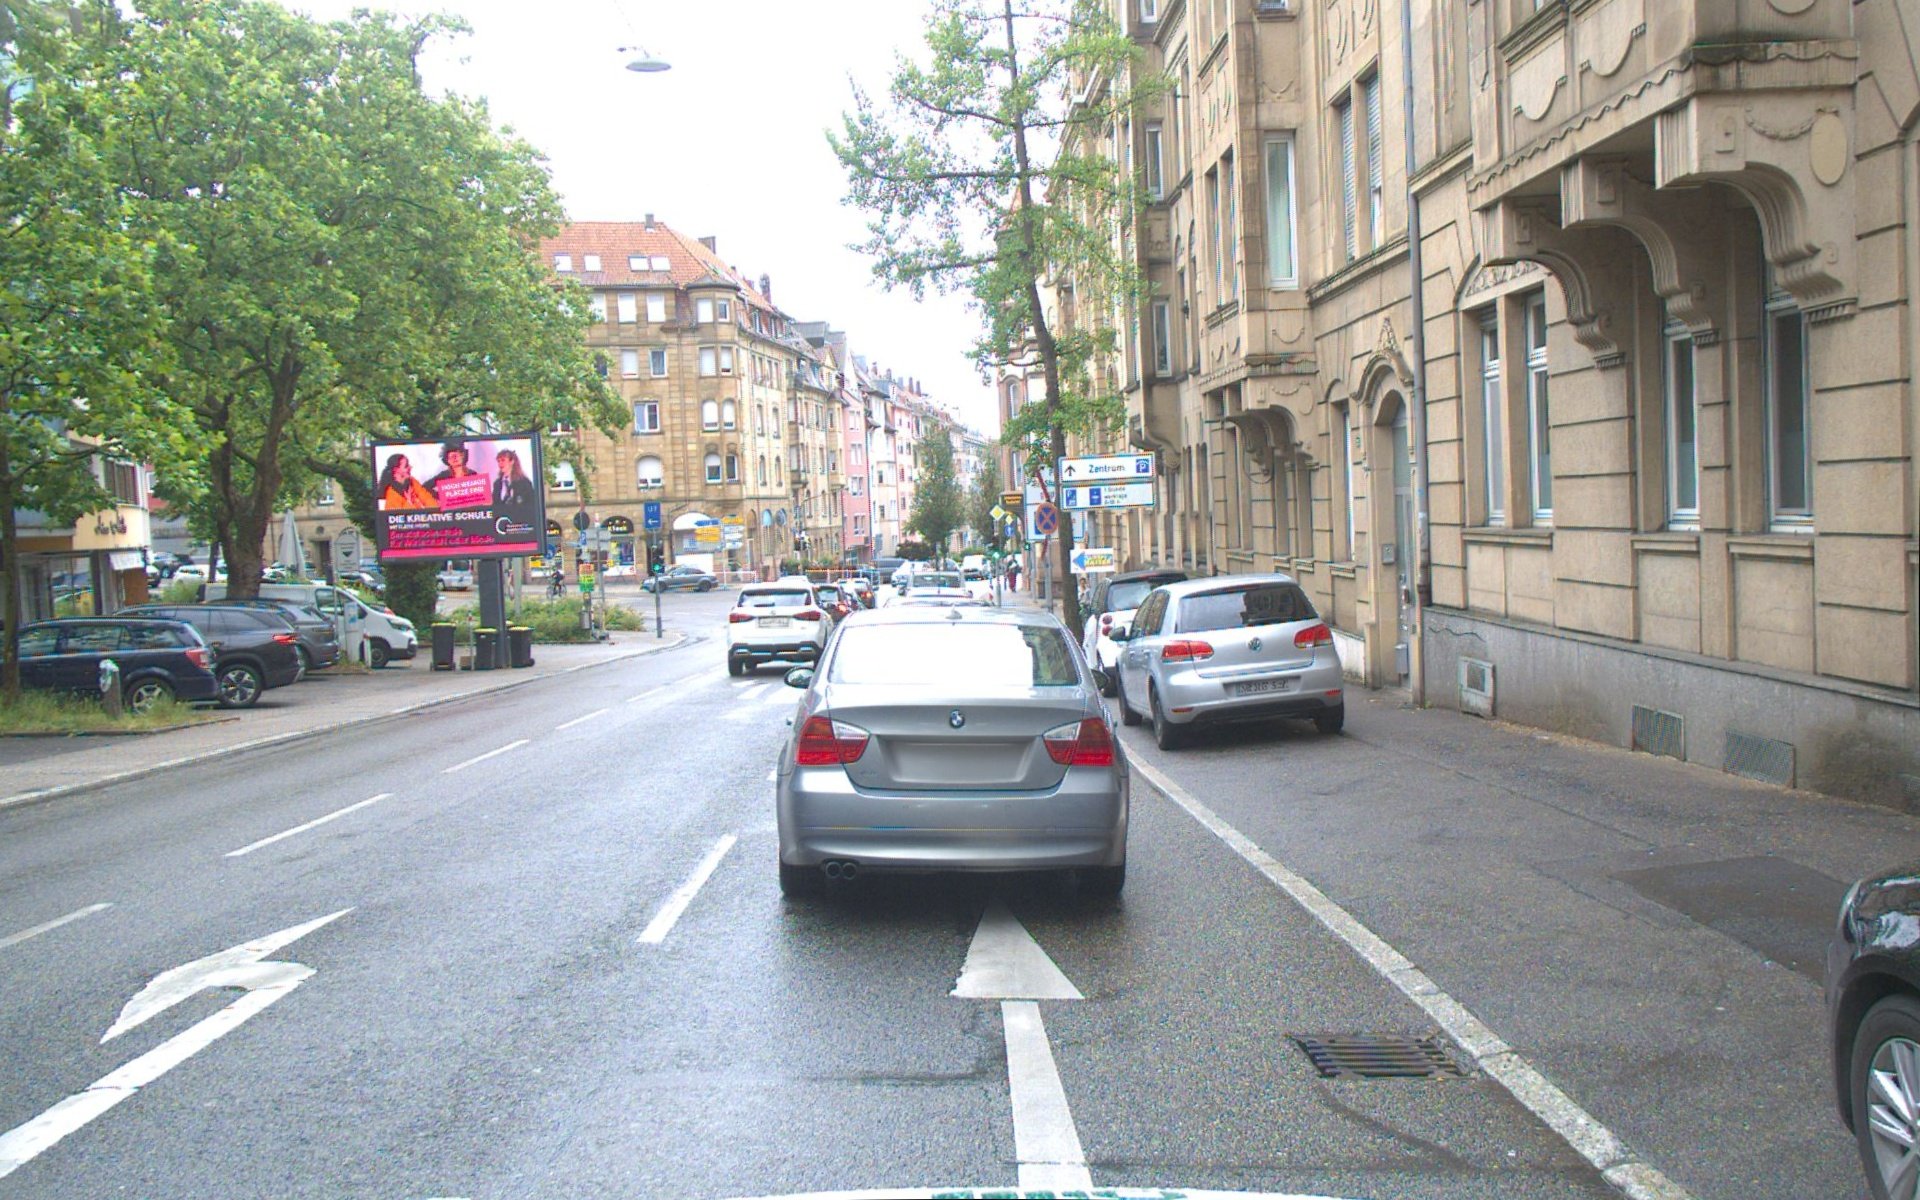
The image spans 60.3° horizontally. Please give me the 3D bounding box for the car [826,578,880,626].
[{"bbox_3d":[-4.006,0.055,62.371,1.723,1.737,4.000,-1,1,0],"label":"car"}]

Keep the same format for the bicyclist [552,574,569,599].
[{"bbox_3d":[-20.573,-0.684,85.176,0.556,1.295,0.690,1,-1,11],"label":"bicyclist"}]

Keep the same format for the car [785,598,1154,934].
[{"bbox_3d":[0.052,0.722,9.011,1.590,1.407,3.615,-1,1,0],"label":"car"}]

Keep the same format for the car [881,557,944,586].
[{"bbox_3d":[-2.827,-1.720,99.430,1.957,1.606,3.991,1,0,31],"label":"car"}]

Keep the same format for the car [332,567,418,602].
[{"bbox_3d":[-30.355,-0.812,85.797,4.157,1.756,1.997,1,2,30],"label":"car"}]

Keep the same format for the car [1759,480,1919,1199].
[{"bbox_3d":[2.866,0.518,1.940,1.724,1.679,4.098,-6,1,0],"label":"car"}]

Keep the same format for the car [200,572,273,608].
[{"bbox_3d":[-45.470,-0.639,103.930,4.196,2.138,1.998,2,2,28],"label":"car"}]

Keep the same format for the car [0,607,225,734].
[{"bbox_3d":[-13.039,1.019,23.902,4.299,1.601,1.929,-3,1,-24],"label":"car"}]

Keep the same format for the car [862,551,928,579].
[{"bbox_3d":[-5.065,-2.767,130.215,5.072,2.049,2.698,1,0,-1],"label":"car"}]

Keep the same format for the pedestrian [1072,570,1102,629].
[{"bbox_3d":[3.418,-0.020,44.595,0.618,1.534,0.693,-6,0,-2],"label":"pedestrian"}]

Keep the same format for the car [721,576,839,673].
[{"bbox_3d":[-3.275,0.406,30.760,1.830,1.654,3.999,-1,1,-1],"label":"car"}]

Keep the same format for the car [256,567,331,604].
[{"bbox_3d":[-40.863,-0.923,101.409,4.196,2.138,1.998,2,2,28],"label":"car"}]

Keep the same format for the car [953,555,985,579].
[{"bbox_3d":[0.668,-2.419,120.355,1.951,1.606,4.002,1,0,5],"label":"car"}]

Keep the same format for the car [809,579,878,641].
[{"bbox_3d":[-3.391,0.251,48.860,1.723,1.737,4.000,-1,1,0],"label":"car"}]

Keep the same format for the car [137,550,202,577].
[{"bbox_3d":[-51.112,-2.358,106.917,3.909,1.718,1.726,1,0,27],"label":"car"}]

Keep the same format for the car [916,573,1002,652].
[{"bbox_3d":[-0.069,0.226,35.704,1.724,1.594,3.999,-1,1,-2],"label":"car"}]

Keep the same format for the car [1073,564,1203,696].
[{"bbox_3d":[2.391,0.374,22.782,1.273,1.569,2.975,-6,1,-1],"label":"car"}]

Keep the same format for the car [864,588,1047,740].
[{"bbox_3d":[-0.033,0.591,17.700,1.723,1.407,4.000,-1,1,0],"label":"car"}]

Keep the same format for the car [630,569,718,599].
[{"bbox_3d":[-16.111,-0.892,93.060,4.574,1.606,1.987,1,0,-22],"label":"car"}]

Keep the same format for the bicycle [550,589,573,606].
[{"bbox_3d":[-20.547,-0.131,85.276,0.561,0.873,1.523,1,0,13],"label":"bicycle"}]

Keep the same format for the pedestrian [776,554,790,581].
[{"bbox_3d":[-10.781,-1.968,100.749,0.716,1.605,0.528,-1,1,8],"label":"pedestrian"}]

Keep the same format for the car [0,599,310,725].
[{"bbox_3d":[-12.861,0.942,26.705,4.308,1.701,1.842,-3,1,-24],"label":"car"}]

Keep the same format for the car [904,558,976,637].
[{"bbox_3d":[-0.560,-0.077,46.983,1.953,2.143,3.999,0,0,-1],"label":"car"}]

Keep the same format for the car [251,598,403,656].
[{"bbox_3d":[-17.850,0.750,46.734,3.916,1.476,1.757,-2,0,-22],"label":"car"}]

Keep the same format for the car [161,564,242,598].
[{"bbox_3d":[-42.341,-1.071,92.344,4.155,1.756,1.998,0,3,29],"label":"car"}]

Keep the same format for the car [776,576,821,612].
[{"bbox_3d":[-7.029,-0.261,72.263,1.680,1.476,3.741,-2,0,-1],"label":"car"}]

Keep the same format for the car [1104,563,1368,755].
[{"bbox_3d":[2.564,0.493,16.307,1.725,1.476,3.999,-6,1,-1],"label":"car"}]

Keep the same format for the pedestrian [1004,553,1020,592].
[{"bbox_3d":[2.608,-1.366,82.753,0.727,1.943,0.659,-2,1,-2],"label":"pedestrian"}]

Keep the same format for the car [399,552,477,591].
[{"bbox_3d":[-30.343,-1.679,96.154,4.196,2.138,1.998,2,2,28],"label":"car"}]

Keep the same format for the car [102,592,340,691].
[{"bbox_3d":[-15.039,0.816,33.925,4.295,1.815,1.927,-2,0,-22],"label":"car"}]

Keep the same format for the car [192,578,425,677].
[{"bbox_3d":[-15.401,0.620,39.321,4.989,2.142,1.979,-2,0,-22],"label":"car"}]

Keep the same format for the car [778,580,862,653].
[{"bbox_3d":[-3.473,0.379,41.625,1.723,1.737,4.000,-1,1,0],"label":"car"}]

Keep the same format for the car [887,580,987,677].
[{"bbox_3d":[-0.350,0.432,28.452,1.562,1.490,4.000,2,1,0],"label":"car"}]
